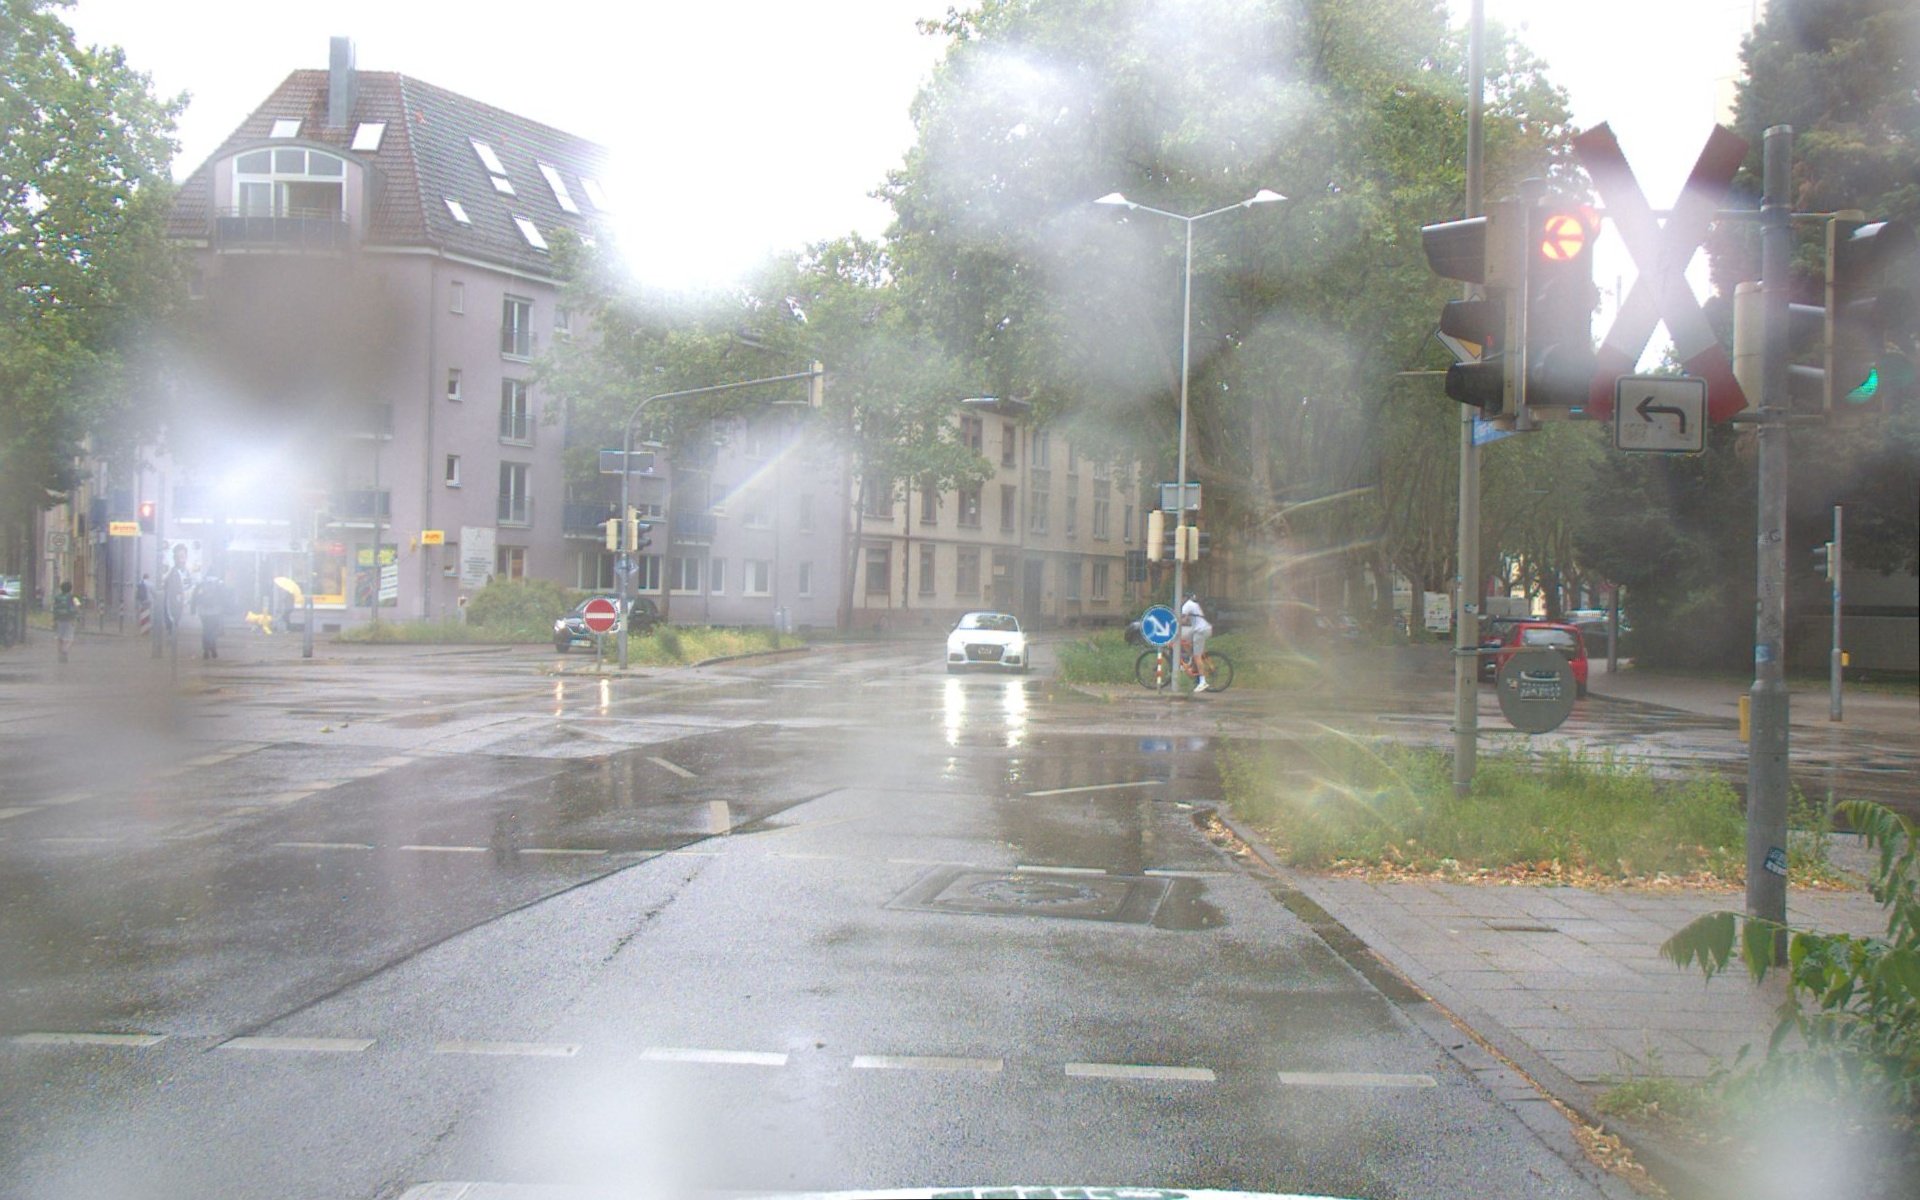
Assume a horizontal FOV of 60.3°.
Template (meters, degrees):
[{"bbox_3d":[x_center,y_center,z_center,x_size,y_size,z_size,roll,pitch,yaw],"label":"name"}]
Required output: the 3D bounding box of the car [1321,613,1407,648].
[{"bbox_3d":[19.254,1.446,78.914,3.902,1.574,2.002,1,0,12],"label":"car"}]

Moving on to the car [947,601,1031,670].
[{"bbox_3d":[0.690,0.801,39.071,1.845,1.461,4.001,1,0,1],"label":"car"}]

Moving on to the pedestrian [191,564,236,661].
[{"bbox_3d":[-14.755,0.244,32.711,0.777,1.888,0.676,1,0,-25],"label":"pedestrian"}]

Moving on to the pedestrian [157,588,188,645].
[{"bbox_3d":[-21.963,0.451,46.144,0.740,1.560,0.786,1,-1,-25],"label":"pedestrian"}]

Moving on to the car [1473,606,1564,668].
[{"bbox_3d":[13.890,0.880,41.294,1.745,1.371,3.932,1,1,13],"label":"car"}]

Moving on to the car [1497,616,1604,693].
[{"bbox_3d":[13.044,1.165,36.724,1.754,1.524,4.003,1,0,13],"label":"car"}]

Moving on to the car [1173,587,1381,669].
[{"bbox_3d":[6.279,0.539,32.780,3.902,1.512,2.002,1,0,12],"label":"car"}]

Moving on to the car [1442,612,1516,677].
[{"bbox_3d":[14.982,1.257,47.897,1.745,1.757,4.003,1,0,13],"label":"car"}]

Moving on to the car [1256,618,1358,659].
[{"bbox_3d":[13.771,1.519,65.652,3.902,1.512,2.002,1,0,12],"label":"car"}]

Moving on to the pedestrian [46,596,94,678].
[{"bbox_3d":[-15.743,0.643,29.252,0.643,1.420,0.773,1,0,-35],"label":"pedestrian"}]

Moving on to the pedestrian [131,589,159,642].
[{"bbox_3d":[-25.337,0.466,51.417,0.667,1.628,0.957,1,-1,-32],"label":"pedestrian"}]

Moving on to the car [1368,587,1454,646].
[{"bbox_3d":[23.946,0.852,88.057,2.005,2.999,4.742,1,0,-21],"label":"car"}]

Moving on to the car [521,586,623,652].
[{"bbox_3d":[-9.633,0.451,41.332,1.716,1.538,3.838,1,0,-2],"label":"car"}]

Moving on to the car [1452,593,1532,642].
[{"bbox_3d":[33.661,1.089,104.801,1.974,3.000,4.720,1,0,-31],"label":"car"}]

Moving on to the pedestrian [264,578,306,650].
[{"bbox_3d":[-20.763,0.431,50.904,0.890,2.188,0.886,1,-1,-3],"label":"pedestrian"}]

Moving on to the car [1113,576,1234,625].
[{"bbox_3d":[6.974,0.019,53.883,3.784,1.512,1.717,1,0,12],"label":"car"}]

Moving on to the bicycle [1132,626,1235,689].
[{"bbox_3d":[4.109,1.053,30.432,1.833,1.100,0.657,1,0,7],"label":"bicycle"}]

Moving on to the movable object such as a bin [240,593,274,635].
[{"bbox_3d":[-21.649,0.425,50.941,0.735,1.258,0.666,1,-1,-4],"label":"movable object such as a bin"}]

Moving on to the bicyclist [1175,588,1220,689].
[{"bbox_3d":[4.355,0.699,30.407,0.778,1.817,0.697,1,-1,7],"label":"bicyclist"}]

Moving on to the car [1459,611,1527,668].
[{"bbox_3d":[18.338,1.334,57.076,1.881,1.837,4.003,1,0,13],"label":"car"}]
